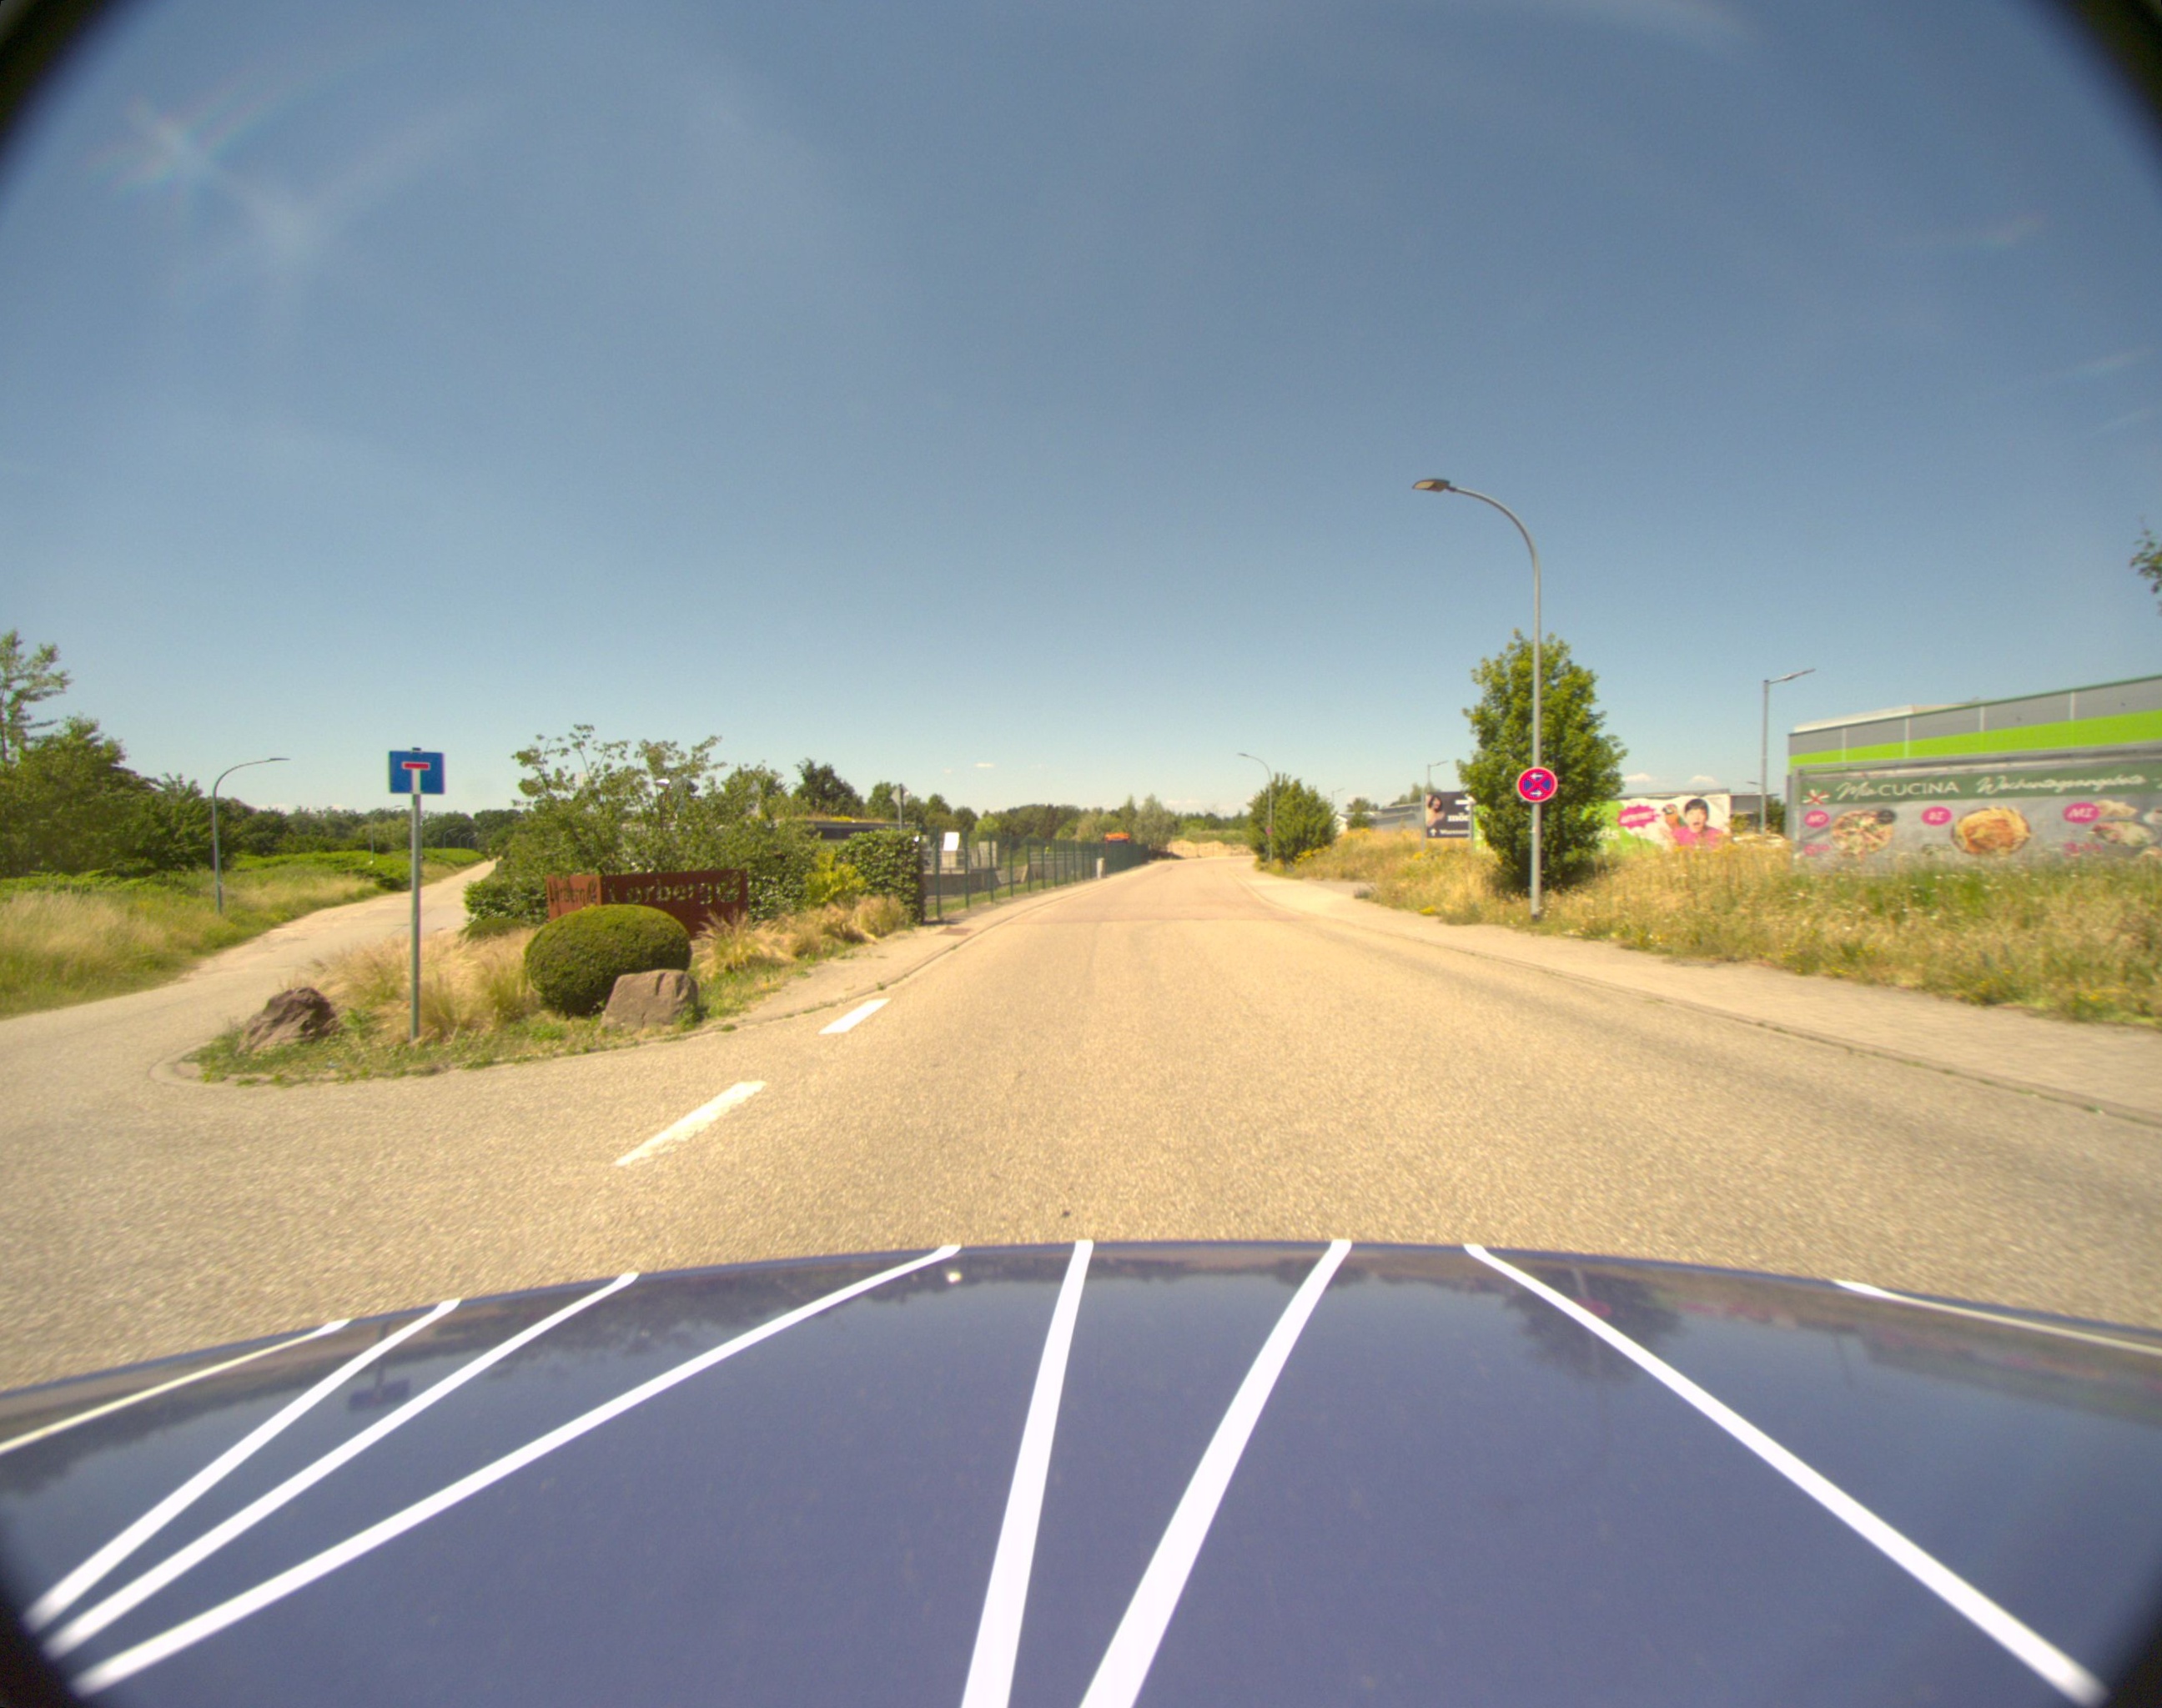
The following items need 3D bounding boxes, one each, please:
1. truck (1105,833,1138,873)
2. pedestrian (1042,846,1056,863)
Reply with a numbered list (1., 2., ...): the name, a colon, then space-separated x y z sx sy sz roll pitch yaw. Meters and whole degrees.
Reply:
1. truck: 4.604 -0.127 85.130 2.845 4.172 8.136 -3 0 7
2. pedestrian: -3.830 0.020 90.796 1.304 2.002 1.217 -3 1 8
